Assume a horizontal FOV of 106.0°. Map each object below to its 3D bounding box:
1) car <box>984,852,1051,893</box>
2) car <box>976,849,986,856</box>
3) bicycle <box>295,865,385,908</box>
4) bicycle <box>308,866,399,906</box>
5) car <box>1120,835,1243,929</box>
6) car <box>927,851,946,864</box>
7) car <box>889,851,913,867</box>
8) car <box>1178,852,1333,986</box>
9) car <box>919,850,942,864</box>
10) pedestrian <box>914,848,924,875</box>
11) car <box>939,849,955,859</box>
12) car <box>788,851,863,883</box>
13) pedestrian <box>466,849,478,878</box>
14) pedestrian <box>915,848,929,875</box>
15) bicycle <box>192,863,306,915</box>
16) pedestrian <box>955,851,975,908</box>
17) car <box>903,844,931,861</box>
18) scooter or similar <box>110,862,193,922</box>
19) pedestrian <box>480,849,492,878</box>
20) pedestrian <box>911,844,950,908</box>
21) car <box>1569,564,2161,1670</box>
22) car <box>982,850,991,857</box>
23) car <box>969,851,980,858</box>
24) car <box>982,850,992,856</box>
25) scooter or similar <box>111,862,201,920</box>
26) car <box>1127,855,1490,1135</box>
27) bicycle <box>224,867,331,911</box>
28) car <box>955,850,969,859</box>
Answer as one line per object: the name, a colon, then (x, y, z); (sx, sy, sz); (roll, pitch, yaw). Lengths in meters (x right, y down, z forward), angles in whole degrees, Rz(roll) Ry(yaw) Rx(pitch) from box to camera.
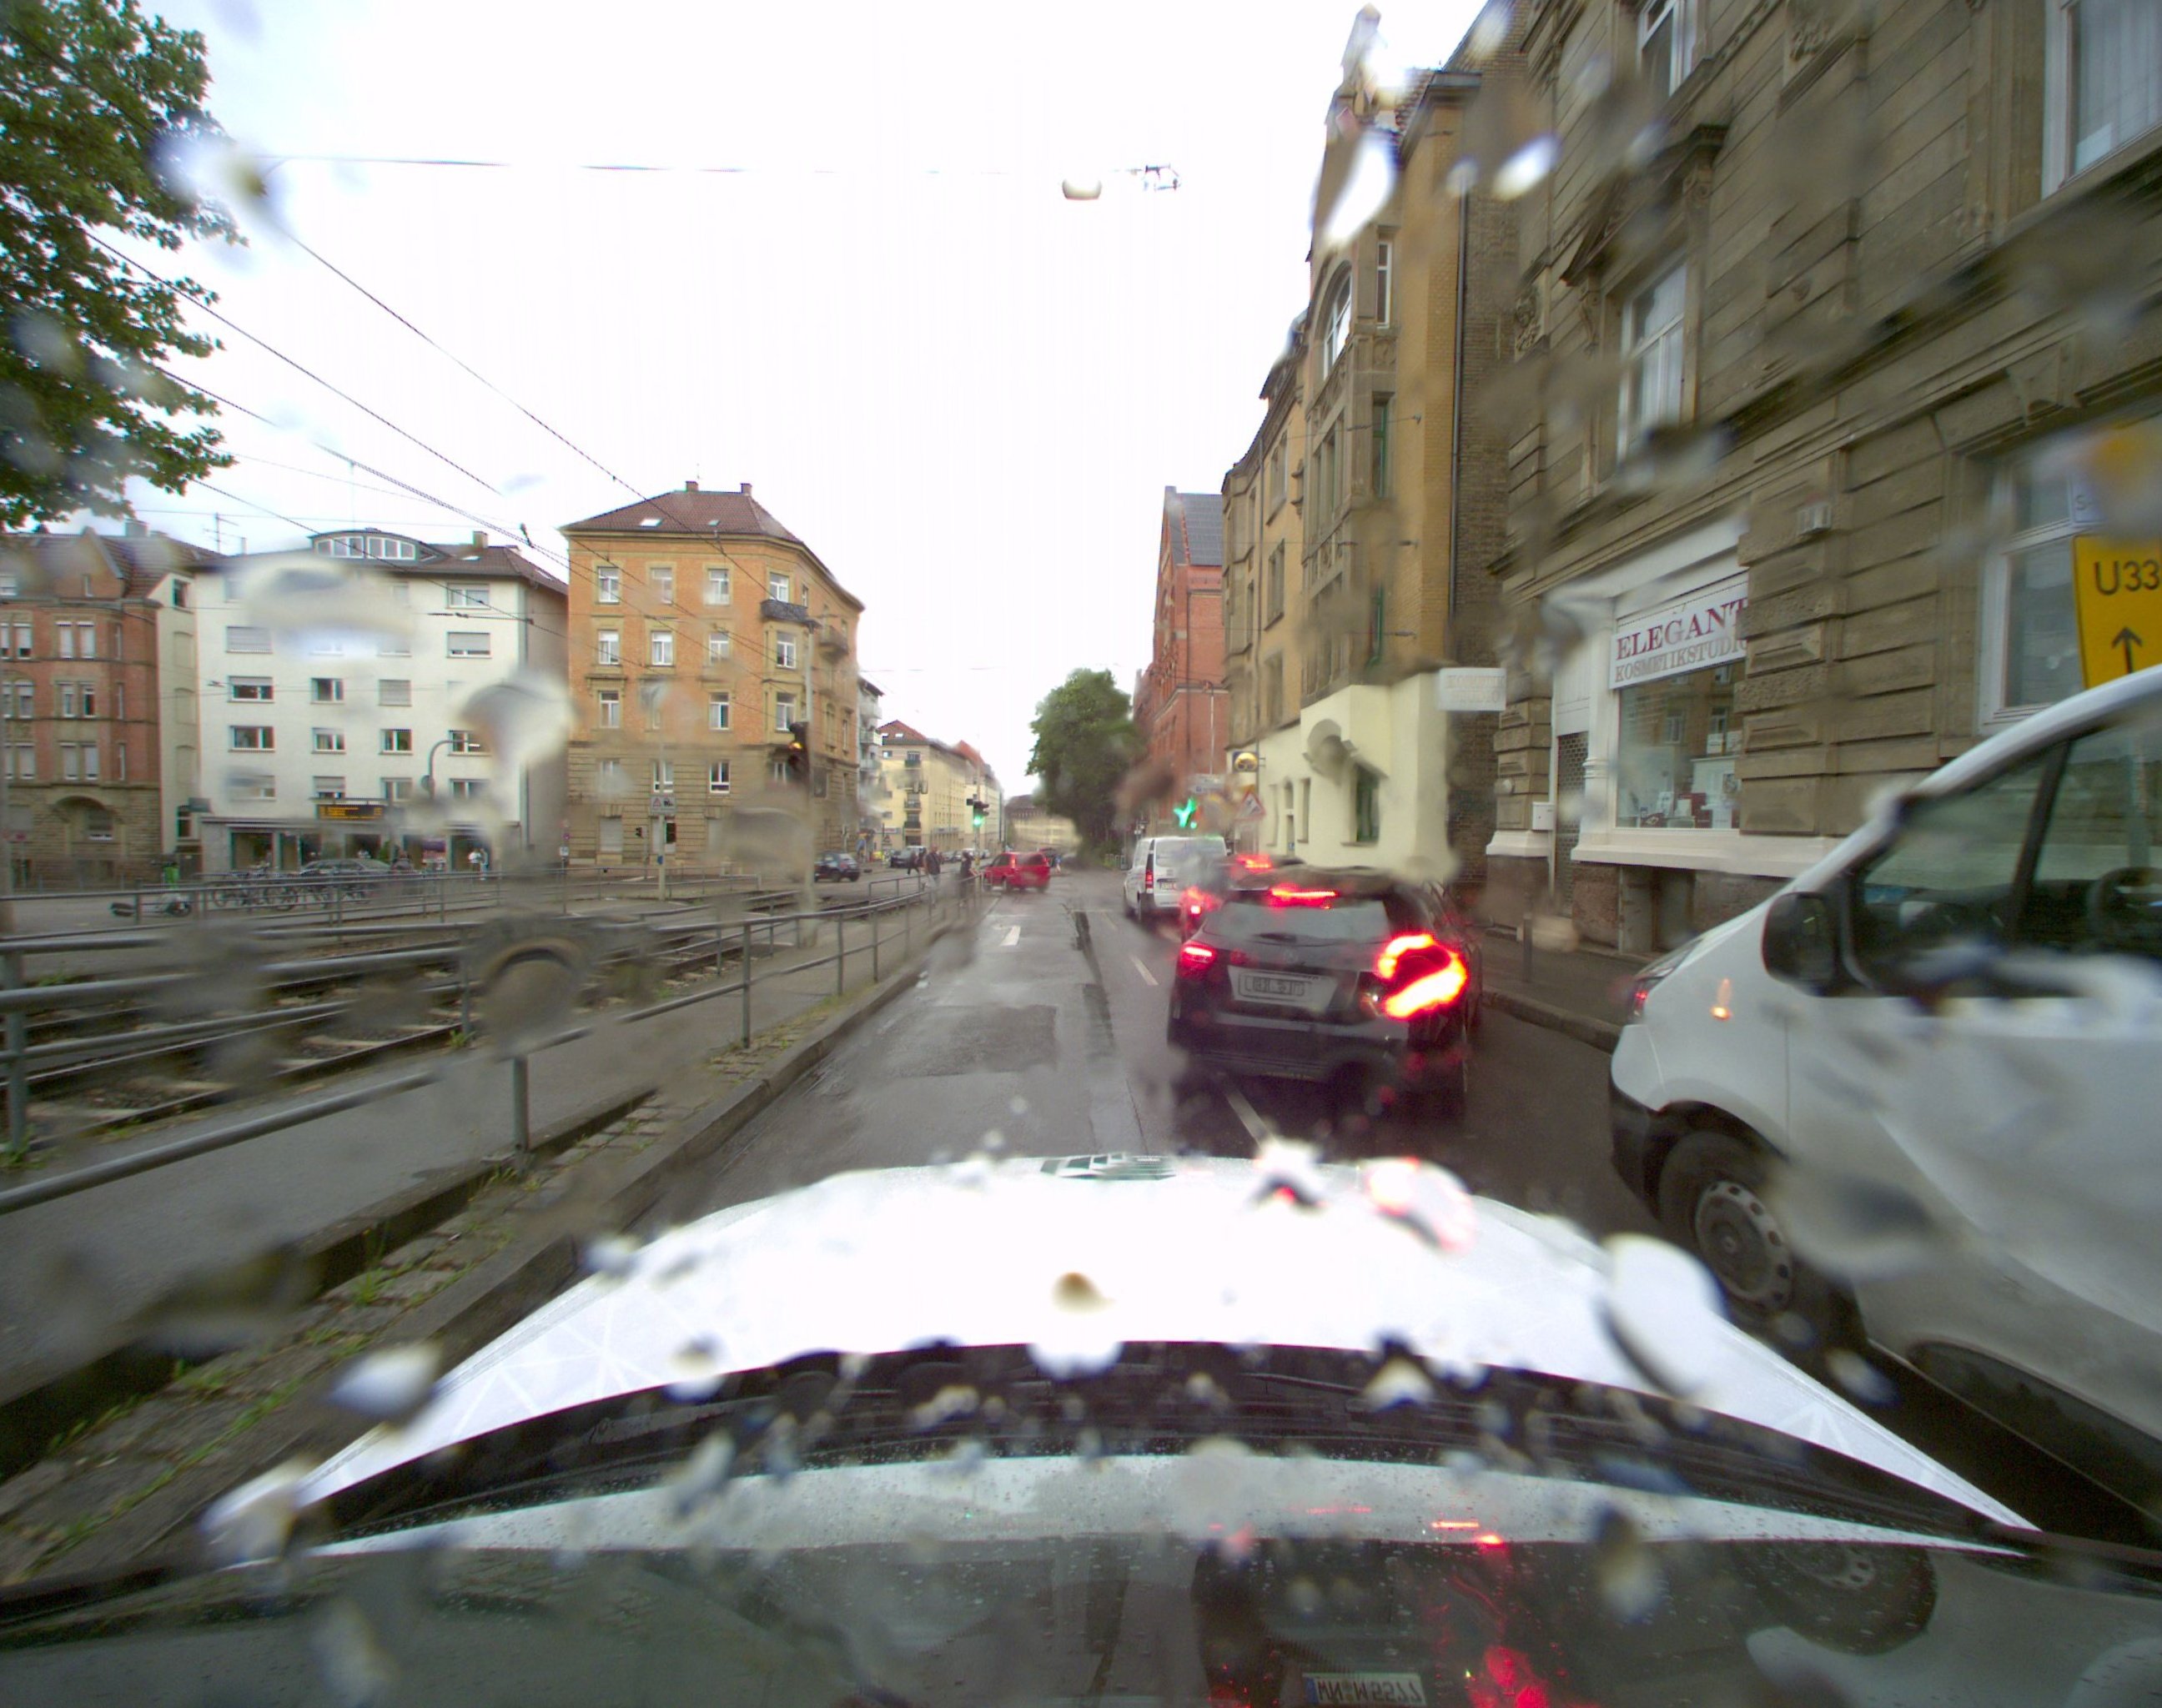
car: (-2.512, 0.657, 31.456); (1.685, 1.489, 3.589); (-1, 0, -20)
car: (-16.804, -0.231, 136.631); (1.391, 1.171, 3.161); (0, 0, -1)
bicycle: (-20.092, 0.870, 22.116); (1.768, 1.142, 0.516); (0, 0, -12)
bicycle: (-20.322, 0.885, 22.787); (1.872, 1.065, 0.516); (0, 0, -12)
car: (2.060, 0.527, 17.934); (1.929, 1.831, 4.275); (0, 0, -4)
car: (-15.572, 0.324, 87.921); (1.495, 1.356, 3.161); (0, 0, -1)
car: (-15.585, 0.448, 70.689); (1.448, 1.318, 3.293); (1, 0, -2)
car: (2.256, 0.714, 11.248); (1.703, 1.469, 4.291); (0, 0, 8)
car: (-15.507, 0.299, 84.161); (1.675, 1.356, 3.702); (0, 0, -1)
pedestrian: (-10.216, 0.465, 51.277); (0.516, 1.666, 0.477); (1, 0, 1)
car: (-15.820, -0.001, 96.412); (1.432, 1.106, 3.161); (0, 0, -1)
car: (-12.365, 0.597, 39.436); (3.129, 1.489, 1.430); (1, 1, 13)
pedestrian: (-34.596, 0.549, 46.244); (0.520, 1.622, 0.480); (0, 0, -41)
pedestrian: (-9.878, 0.453, 50.533); (0.675, 1.661, 0.677); (-1, 0, 5)
bicycle: (-19.498, 0.803, 19.111); (1.872, 1.195, 0.516); (0, 0, -12)
pedestrian: (-3.163, 0.692, 22.253); (0.531, 1.530, 0.435); (0, 0, -9)
car: (-15.489, -0.125, 77.031); (1.781, 1.530, 4.461); (0, 0, -1)
scooter or similar: (-19.474, 0.778, 17.071); (0.357, 1.195, 1.119); (0, 0, 38)
pedestrian: (-33.914, 0.540, 46.419); (0.520, 1.622, 0.480); (0, 0, -41)
pedestrian: (-4.129, 0.595, 22.323); (0.745, 1.724, 0.732); (0, 0, -44)
car: (2.846, 0.462, 0.838); (1.914, 1.936, 4.685); (0, 0, 0)
car: (-16.785, -0.101, 144.703); (1.391, 1.171, 3.161); (0, 0, -1)
car: (-16.636, 0.080, 127.332); (1.391, 1.171, 3.161); (0, 0, -1)
car: (-17.172, -0.168, 149.183); (1.391, 1.171, 3.161); (0, 0, -1)
scooter or similar: (-19.906, 0.770, 17.538); (0.295, 1.195, 1.259); (0, 0, 38)
car: (2.059, 0.711, 6.308); (1.877, 1.390, 4.024); (0, 0, 28)
bicycle: (-19.795, 0.855, 20.101); (1.872, 1.061, 0.515); (0, 0, -13)
car: (-15.987, 0.055, 109.498); (1.391, 1.171, 3.161); (0, 0, -1)
